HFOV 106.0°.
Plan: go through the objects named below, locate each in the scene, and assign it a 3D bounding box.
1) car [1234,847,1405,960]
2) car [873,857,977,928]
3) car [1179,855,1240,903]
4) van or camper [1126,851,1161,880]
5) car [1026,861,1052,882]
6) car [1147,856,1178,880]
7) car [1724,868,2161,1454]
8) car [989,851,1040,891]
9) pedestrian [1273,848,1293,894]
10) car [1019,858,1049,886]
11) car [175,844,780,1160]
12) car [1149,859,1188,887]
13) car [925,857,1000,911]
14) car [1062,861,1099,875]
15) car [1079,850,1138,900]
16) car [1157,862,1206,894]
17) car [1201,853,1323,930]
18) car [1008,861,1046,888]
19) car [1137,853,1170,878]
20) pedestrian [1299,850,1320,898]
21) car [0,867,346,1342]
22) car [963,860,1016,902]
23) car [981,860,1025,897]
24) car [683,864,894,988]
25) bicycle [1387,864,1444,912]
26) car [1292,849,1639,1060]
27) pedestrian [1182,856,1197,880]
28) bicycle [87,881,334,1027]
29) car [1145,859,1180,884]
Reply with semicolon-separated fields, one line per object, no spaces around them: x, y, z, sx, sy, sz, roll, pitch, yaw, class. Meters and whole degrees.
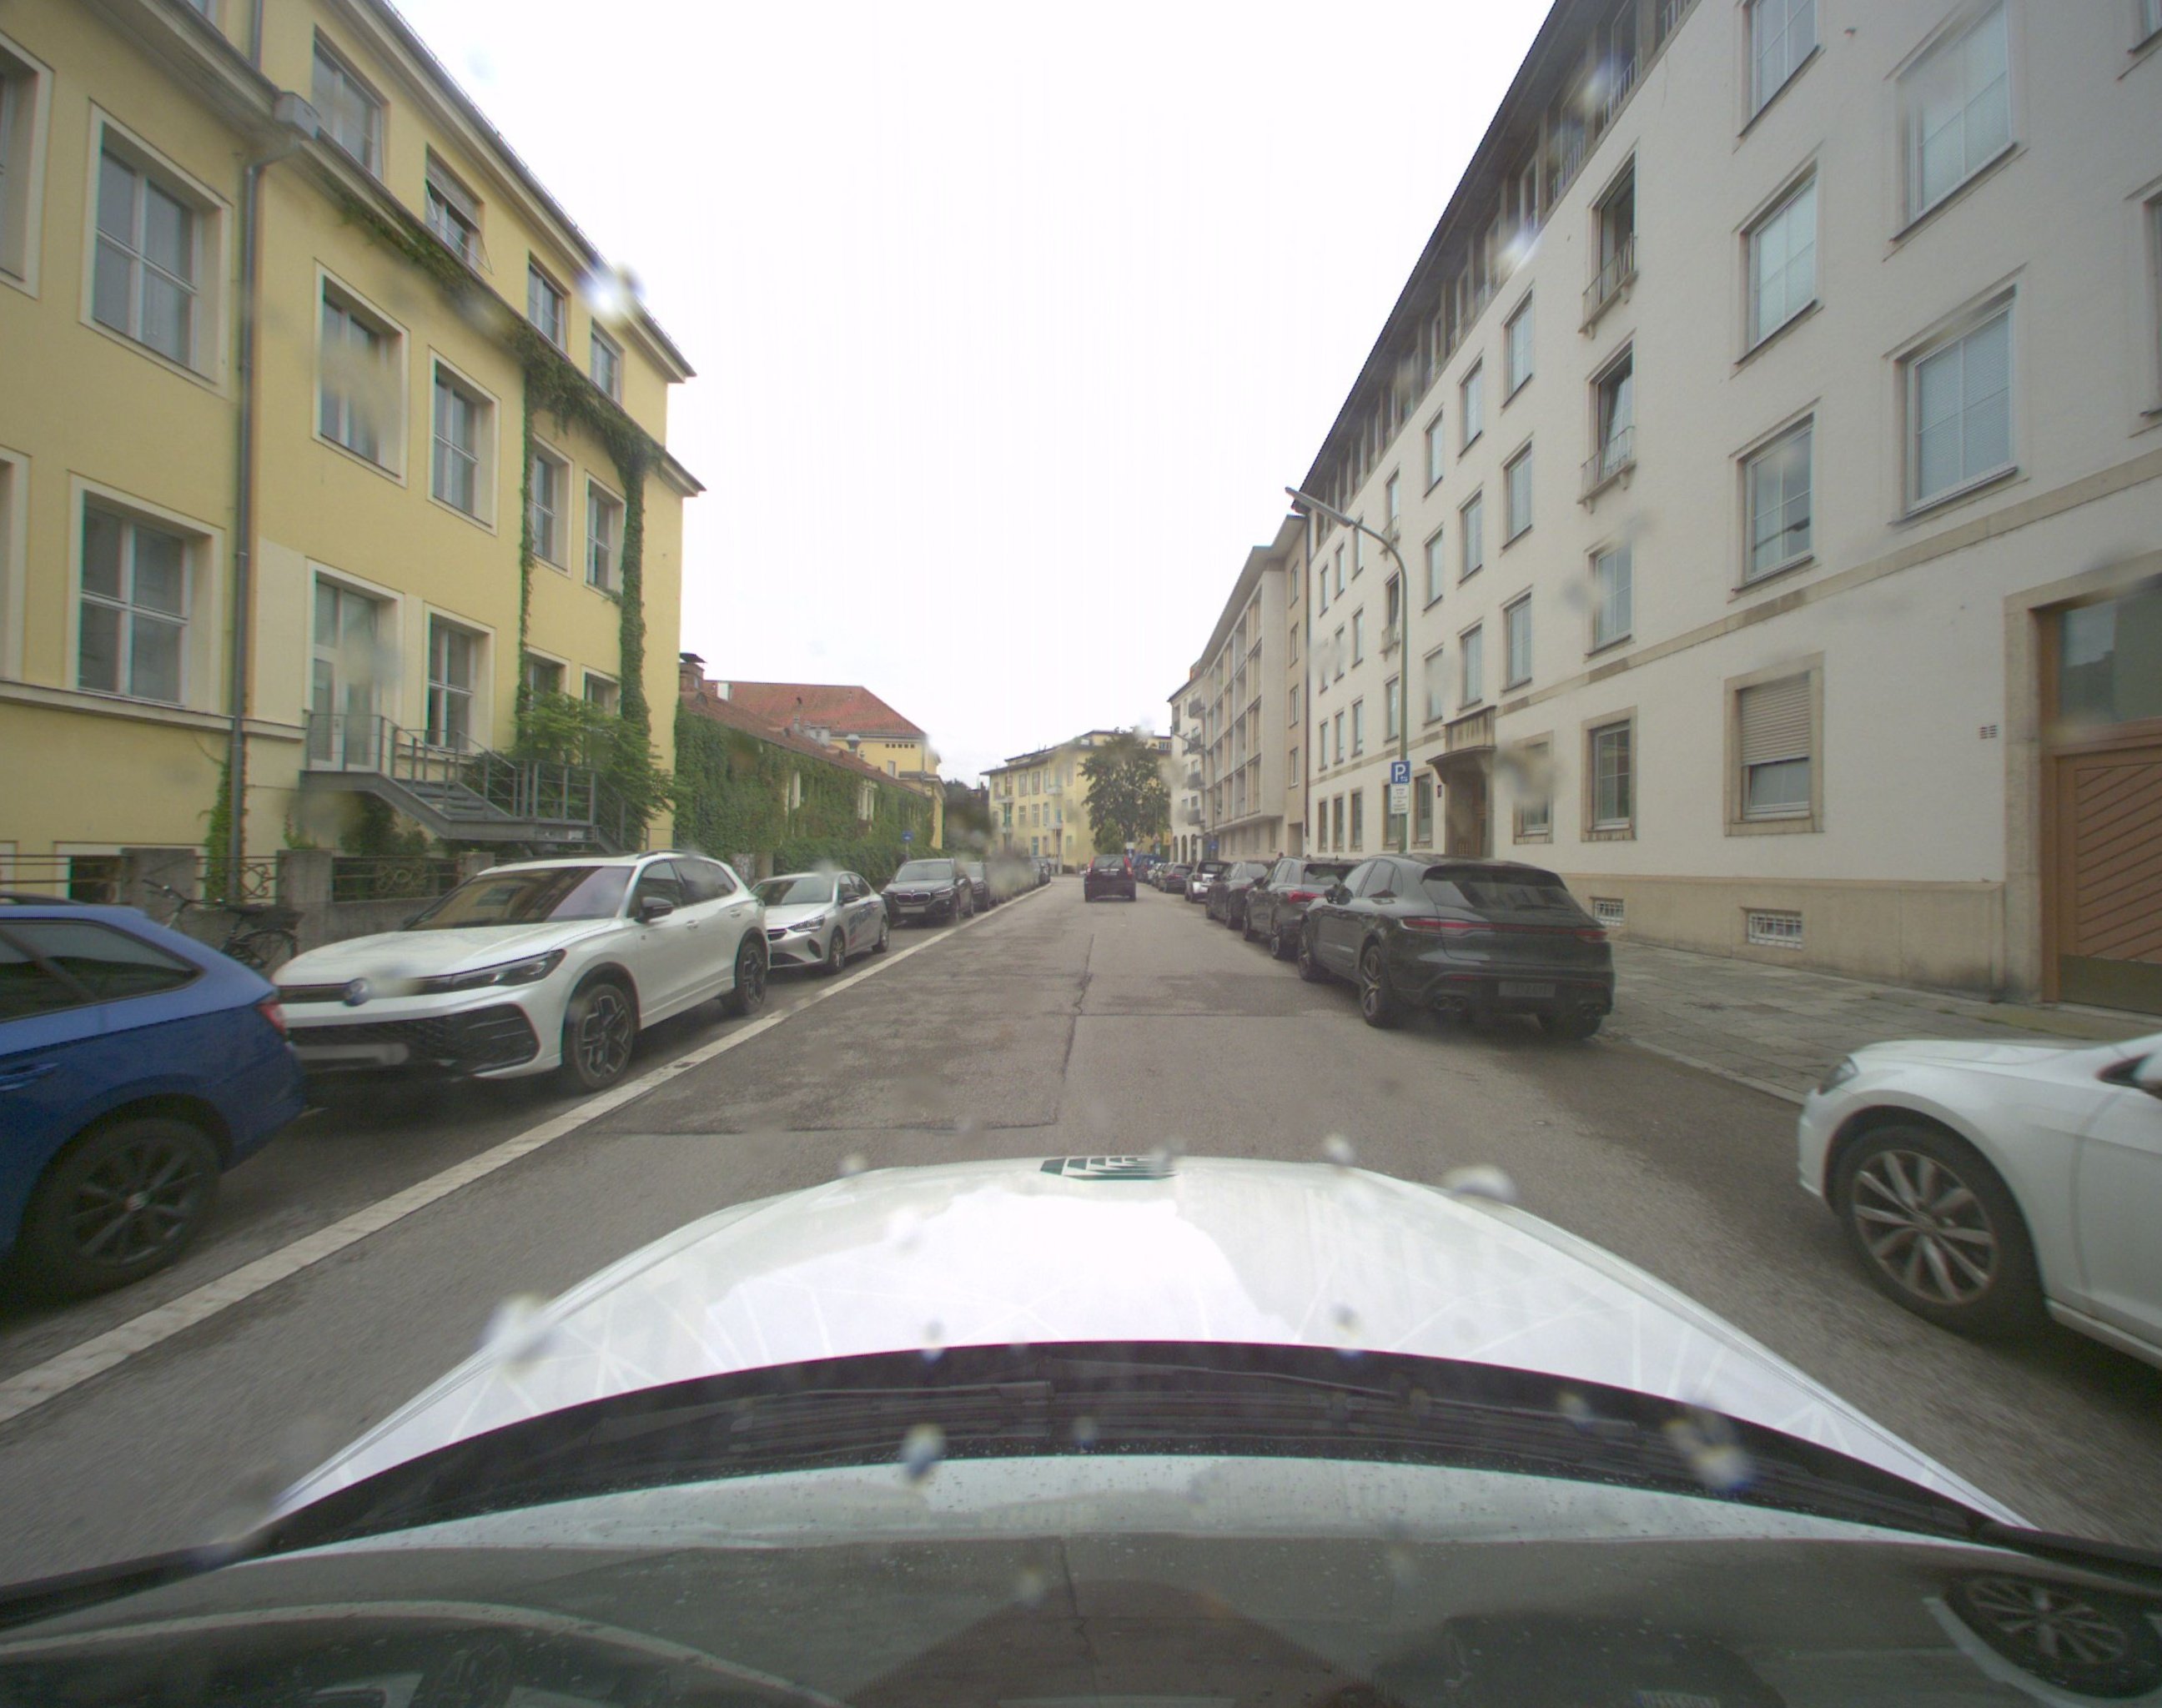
3.813;0.709;13.770;1.771;1.584;4.274;-1;0;2;car
-3.720;0.868;20.103;1.776;1.538;4.194;-1;0;-1;car
4.627;0.862;29.731;1.665;1.535;3.883;4;0;2;car
5.104;0.917;66.988;2.057;2.231;5.429;-1;0;-4;van or camper
-2.930;1.195;57.324;1.614;1.378;4.071;-1;0;0;car
5.546;0.913;55.934;1.733;1.537;4.274;-1;0;1;car
3.579;0.818;1.483;1.685;1.464;4.085;3;0;2;car
-3.278;0.813;41.035;1.986;1.875;4.761;-1;0;2;car
7.375;0.615;29.754;0.594;1.654;0.631;-1;0;1;pedestrian
-2.923;1.102;51.778;1.614;1.730;4.424;-1;0;0;car
-4.074;0.802;6.606;1.675;1.634;4.354;-2;0;-2;car
4.835;1.013;45.552;1.733;1.499;4.218;0;0;0;car
-3.624;0.865;25.651;1.776;1.538;4.147;-1;0;-1;car
-0.068;1.702;97.793;3.950;1.618;2.012;0;0;28;car
1.027;0.724;29.921;1.987;1.694;4.383;-1;0;2;car
4.823;1.111;39.714;1.790;1.420;4.481;2;0;0;car
4.013;0.762;18.859;1.849;1.544;4.817;0;0;1;car
-3.038;1.134;46.693;1.694;1.423;4.427;-1;0;2;car
5.381;0.822;61.178;1.958;1.816;4.933;0;0;-1;car
7.692;0.670;27.418;0.529;1.584;0.560;-1;0;1;pedestrian
-4.316;0.845;1.843;1.675;1.505;3.972;-2;0;-1;car
-3.351;0.956;30.495;1.573;1.455;3.903;-1;0;-1;car
-3.381;1.052;35.839;1.573;1.492;3.729;-1;0;-1;car
-4.073;0.914;12.044;1.675;1.426;3.893;-2;0;-1;car
8.481;0.837;20.716;0.656;1.126;2.029;-1;0;2;bicycle
3.561;0.785;8.529;1.771;1.584;4.333;2;0;3;car
7.747;1.022;58.349;0.895;1.688;1.319;0;-1;0;pedestrian
-8.211;0.885;7.791;0.574;1.189;1.562;3;0;2;bicycle
5.085;1.061;51.021;1.733;1.499;4.494;-1;0;0;car
